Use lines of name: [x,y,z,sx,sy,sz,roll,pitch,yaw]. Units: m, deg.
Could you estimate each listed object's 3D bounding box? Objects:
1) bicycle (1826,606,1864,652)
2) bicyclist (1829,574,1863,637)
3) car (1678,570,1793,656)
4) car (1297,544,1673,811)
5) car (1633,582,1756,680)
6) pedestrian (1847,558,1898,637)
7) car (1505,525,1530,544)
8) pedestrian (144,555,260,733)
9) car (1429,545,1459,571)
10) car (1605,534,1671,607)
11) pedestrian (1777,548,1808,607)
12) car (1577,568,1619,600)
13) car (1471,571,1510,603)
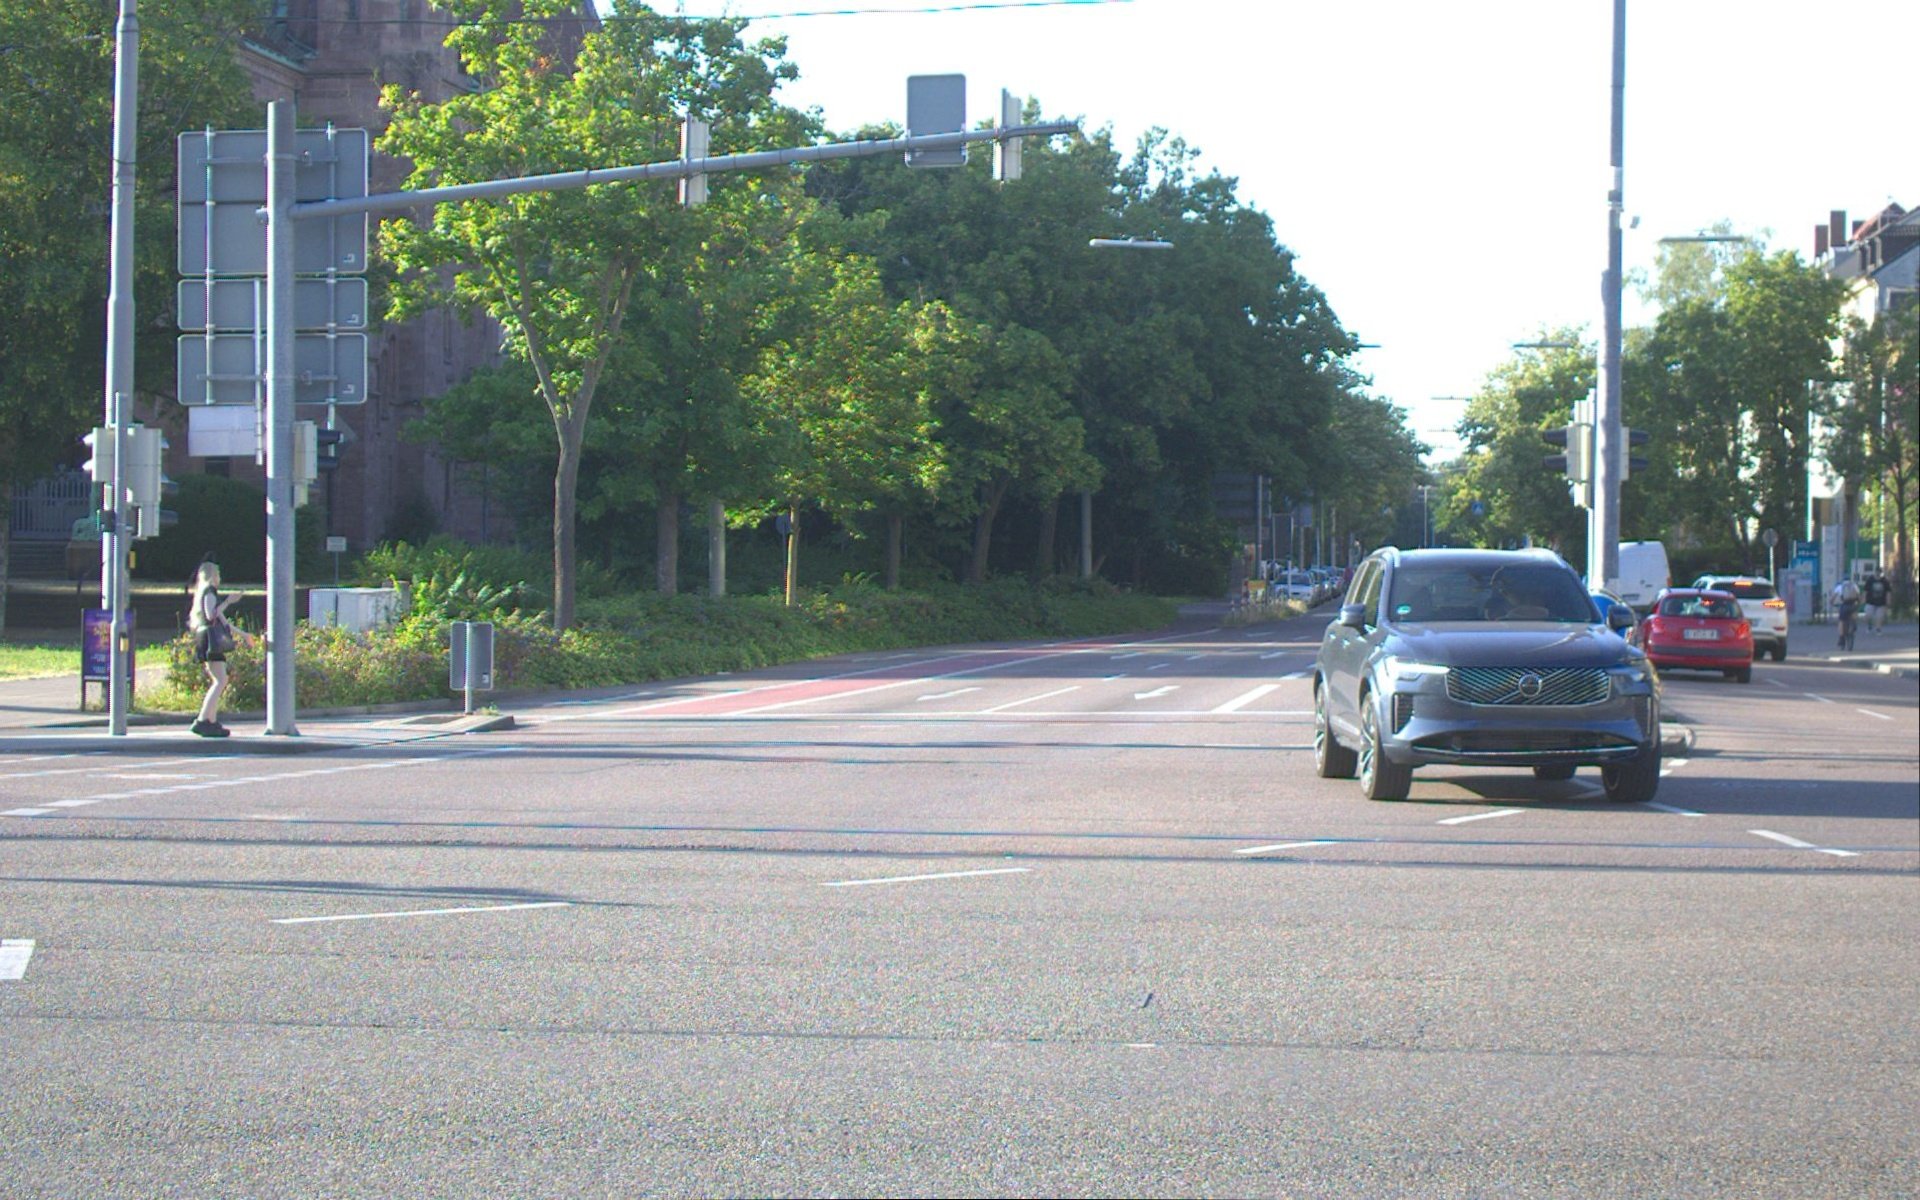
bicycle: [19.785,0.650,76.862,0.592,0.940,1.977,2,2,9]
bicyclist: [19.800,0.120,76.830,0.592,1.364,0.929,2,2,9]
car: [15.709,0.228,69.791,1.917,1.602,4.268,2,1,9]
car: [3.664,0.502,24.898,1.993,1.718,5.031,0,0,1]
car: [11.990,0.476,56.282,1.670,1.457,3.999,2,1,9]
pedestrian: [23.086,-0.079,86.984,1.108,1.969,1.161,1,1,8]
car: [37.169,-4.394,229.237,1.595,1.263,3.265,1,1,9]
pedestrian: [-7.533,0.428,34.206,0.810,1.733,0.968,1,1,10]
car: [31.824,-2.775,225.940,1.887,1.665,3.999,2,1,9]
car: [23.551,-1.033,119.465,1.994,2.432,3.999,2,1,9]
pedestrian: [25.445,-0.692,105.068,0.848,1.797,0.775,1,1,9]
car: [26.447,-0.670,142.592,1.595,1.263,3.265,1,1,9]
car: [22.410,-0.554,145.132,1.595,1.263,3.265,1,1,9]
